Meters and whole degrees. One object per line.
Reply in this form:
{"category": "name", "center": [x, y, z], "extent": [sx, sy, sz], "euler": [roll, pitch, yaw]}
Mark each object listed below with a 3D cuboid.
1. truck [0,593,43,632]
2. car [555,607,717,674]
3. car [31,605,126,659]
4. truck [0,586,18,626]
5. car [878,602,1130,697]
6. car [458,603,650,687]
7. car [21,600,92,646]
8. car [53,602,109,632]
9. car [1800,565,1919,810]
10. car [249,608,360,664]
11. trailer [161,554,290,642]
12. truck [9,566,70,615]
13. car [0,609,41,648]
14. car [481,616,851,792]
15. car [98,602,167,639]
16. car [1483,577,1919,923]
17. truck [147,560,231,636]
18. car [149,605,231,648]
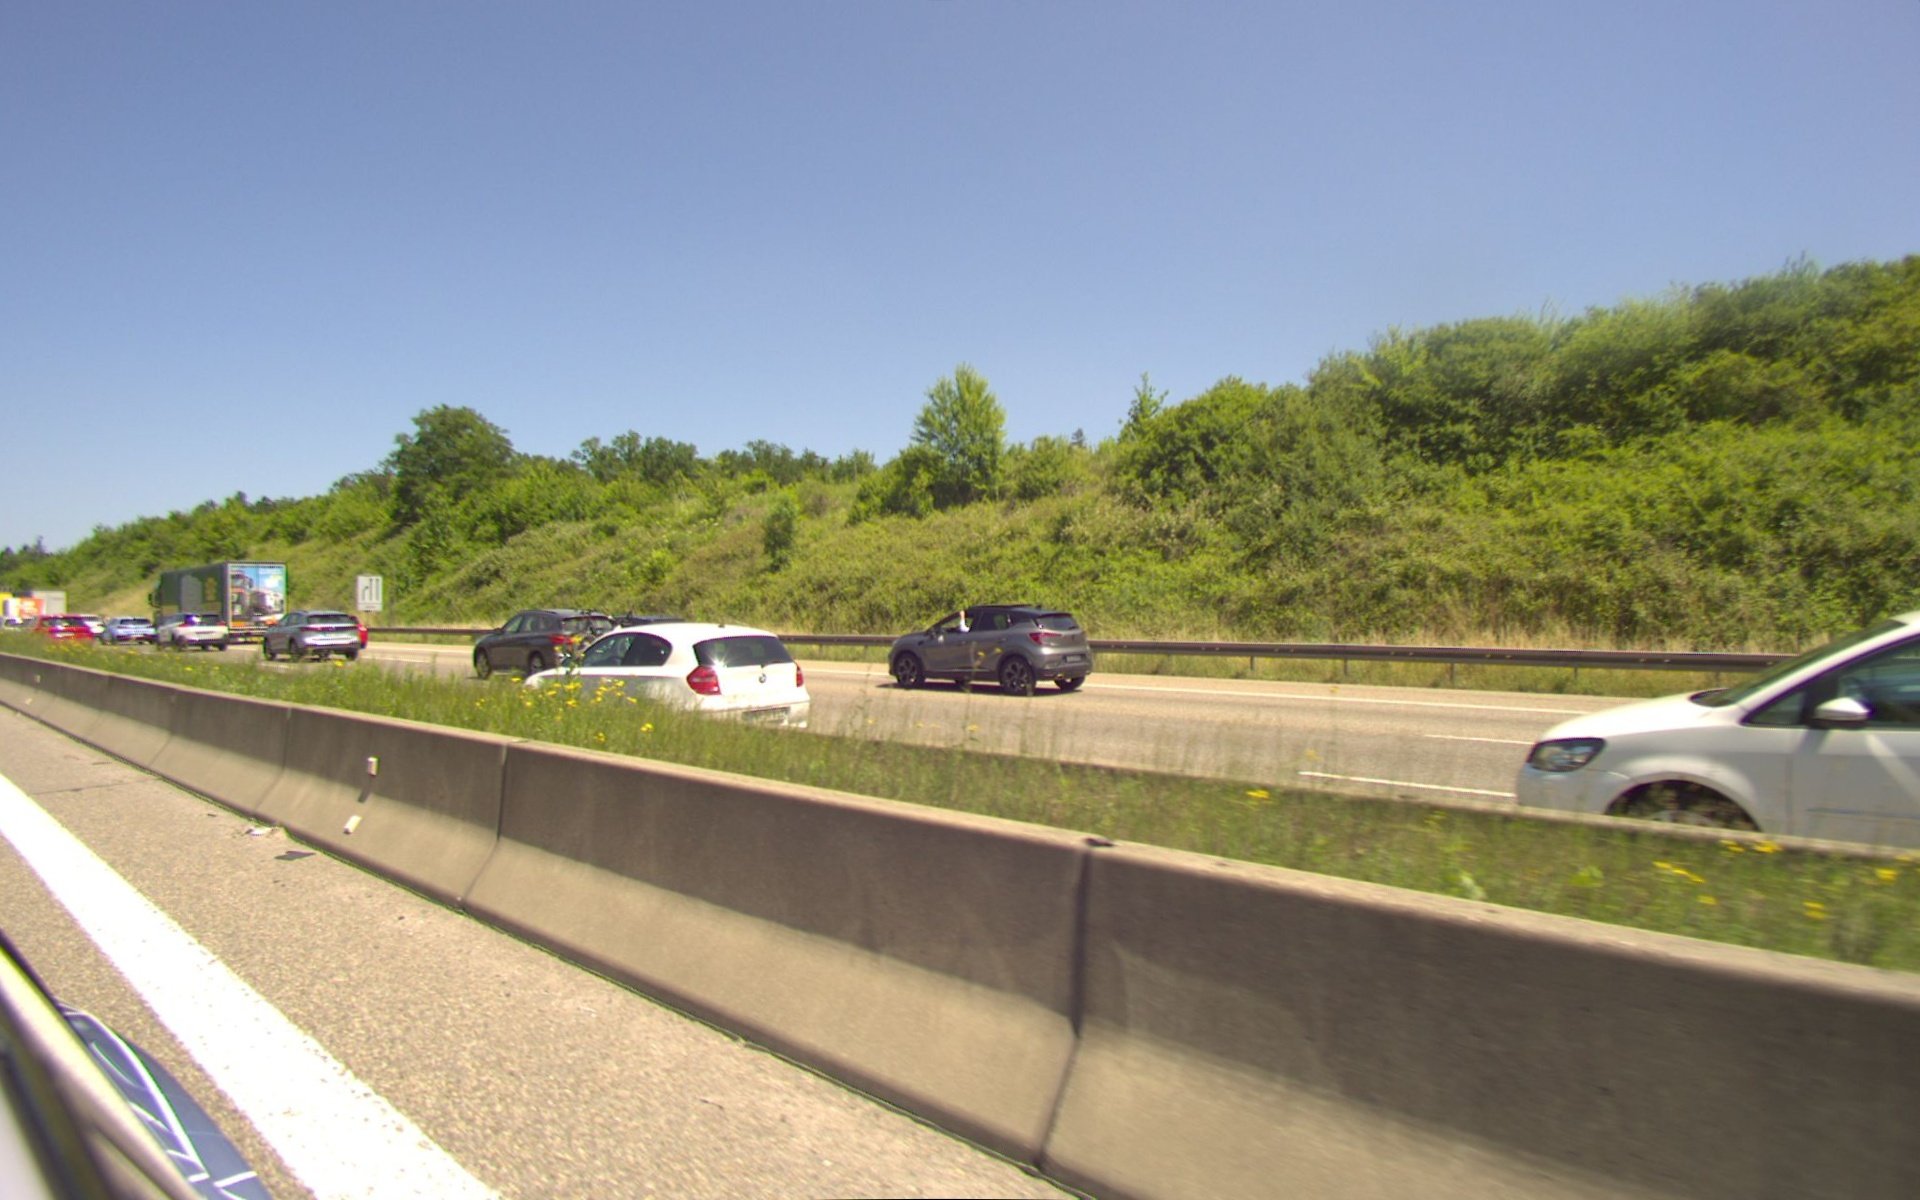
{"category": "truck", "center": [-73.944, 0.941, 79.065], "extent": [6.748, 2.866, 2.543], "euler": [0, 1, 40]}
{"category": "car", "center": [-8.466, 0.973, 26.208], "extent": [4.796, 1.524, 1.793], "euler": [0, 1, 42]}
{"category": "car", "center": [-32.292, 1.105, 37.024], "extent": [4.986, 1.778, 1.809], "euler": [0, 1, 40]}
{"category": "truck", "center": [-116.890, 0.699, 121.607], "extent": [16.667, 4.489, 3.658], "euler": [0, 1, 41]}
{"category": "car", "center": [0.718, 0.820, 18.863], "extent": [4.599, 1.524, 1.793], "euler": [0, 1, 42]}
{"category": "car", "center": [-9.214, 0.910, 22.719], "extent": [5.380, 1.641, 1.793], "euler": [0, 1, 42]}
{"category": "car", "center": [-41.611, 1.047, 46.573], "extent": [3.998, 2.029, 1.973], "euler": [-1, 0, 41]}
{"category": "car", "center": [-54.344, 1.002, 62.531], "extent": [4.986, 1.778, 1.809], "euler": [0, 1, 40]}
{"category": "car", "center": [9.228, 0.617, 6.475], "extent": [5.899, 1.765, 1.843], "euler": [0, 1, 42]}
{"category": "car", "center": [-21.532, 1.103, 33.171], "extent": [4.907, 1.641, 1.793], "euler": [0, 1, 42]}
{"category": "trailer", "center": [-39.634, -0.124, 54.347], "extent": [12.781, 4.293, 2.813], "euler": [0, 1, 41]}
{"category": "truck", "center": [-90.140, -0.913, 99.015], "extent": [13.920, 4.577, 2.963], "euler": [0, 1, 42]}
{"category": "car", "center": [-47.234, 1.379, 50.131], "extent": [4.986, 1.778, 1.809], "euler": [0, 1, 40]}
{"category": "car", "center": [-3.545, 0.997, 11.623], "extent": [4.816, 1.524, 1.793], "euler": [0, 1, 42]}
{"category": "car", "center": [-42.525, 1.014, 51.945], "extent": [4.986, 1.778, 1.809], "euler": [0, 1, 40]}
{"category": "car", "center": [5.385, 0.650, 4.648], "extent": [5.028, 1.524, 1.793], "euler": [0, 1, 42]}
{"category": "truck", "center": [-45.215, -0.139, 59.307], "extent": [5.626, 4.235, 2.790], "euler": [0, 1, 41]}
{"category": "car", "center": [-32.774, 1.072, 43.020], "extent": [5.217, 1.641, 1.793], "euler": [0, 1, 42]}
